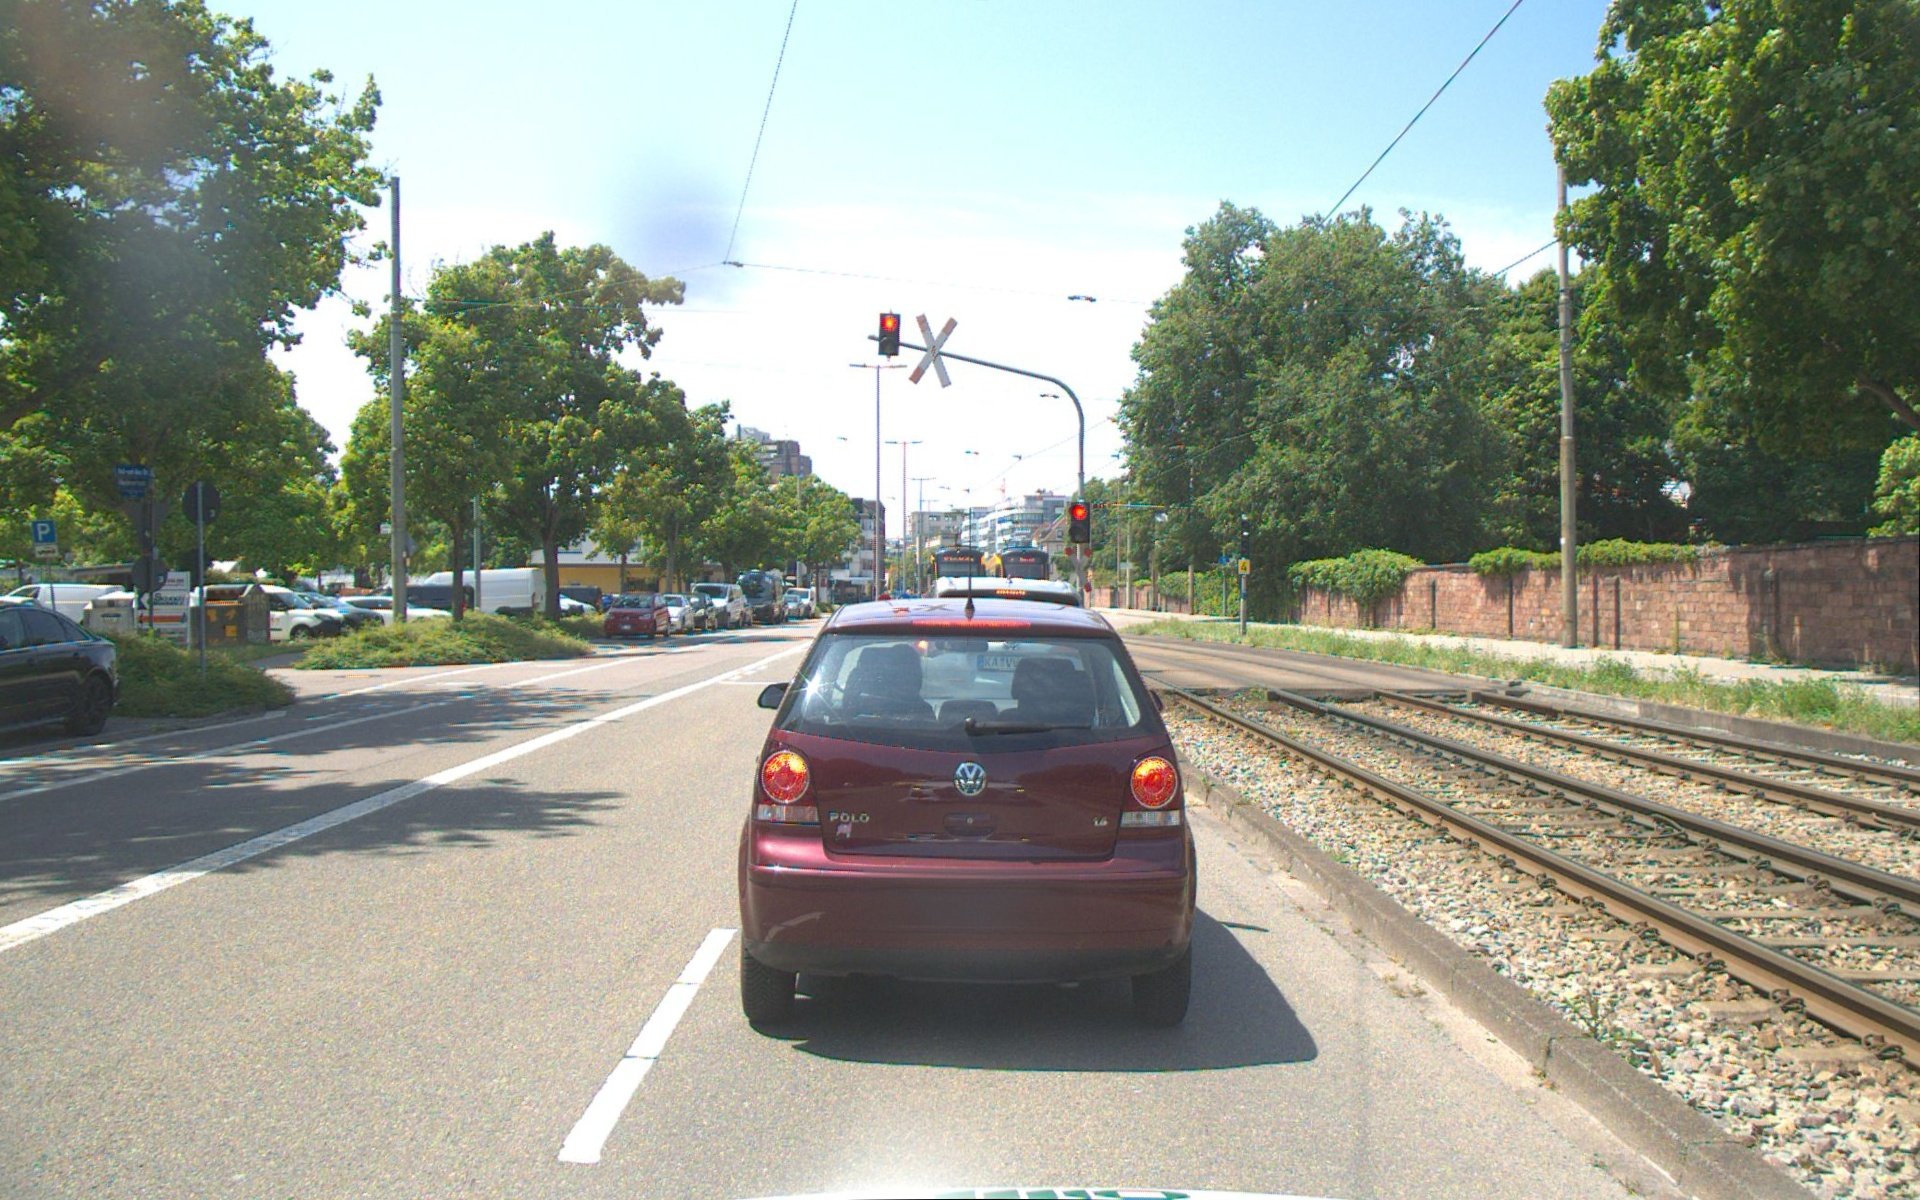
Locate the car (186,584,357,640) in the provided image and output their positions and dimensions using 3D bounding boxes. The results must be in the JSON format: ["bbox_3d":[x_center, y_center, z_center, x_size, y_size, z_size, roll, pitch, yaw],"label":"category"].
[{"bbox_3d":[-20.463,0.338,49.255,4.251,1.612,1.914,0,0,5],"label":"car"}]

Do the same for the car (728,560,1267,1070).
[{"bbox_3d":[0.072,0.657,7.144,1.638,1.548,3.999,2,0,-2],"label":"car"}]

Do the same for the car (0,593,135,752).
[{"bbox_3d":[-10.300,0.708,16.656,1.782,1.502,4.448,2,0,-1],"label":"car"}]

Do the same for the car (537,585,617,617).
[{"bbox_3d":[-21.176,0.053,91.587,3.938,1.645,1.816,2,-1,0],"label":"car"}]

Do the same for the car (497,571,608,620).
[{"bbox_3d":[-20.783,-0.211,84.592,4.993,2.283,2.378,2,-1,0],"label":"car"}]

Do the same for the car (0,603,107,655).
[{"bbox_3d":[-32.482,0.997,58.241,3.913,1.682,1.812,2,-1,-9],"label":"car"}]

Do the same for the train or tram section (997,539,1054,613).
[{"bbox_3d":[3.629,-1.309,93.157,2.965,3.864,13.093,0,0,2],"label":"train or tram section"}]

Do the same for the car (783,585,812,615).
[{"bbox_3d":[-10.568,0.030,107.517,1.741,1.860,3.995,2,-1,-6],"label":"car"}]

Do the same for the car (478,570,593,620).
[{"bbox_3d":[-21.053,-0.240,82.116,4.993,2.283,2.378,2,-1,0],"label":"car"}]

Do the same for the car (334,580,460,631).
[{"bbox_3d":[-20.498,0.195,60.356,3.906,1.776,1.998,-1,0,-2],"label":"car"}]

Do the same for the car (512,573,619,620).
[{"bbox_3d":[-20.790,-0.190,87.310,4.993,2.283,2.378,2,-1,0],"label":"car"}]

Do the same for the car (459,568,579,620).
[{"bbox_3d":[-21.000,-0.263,78.930,4.993,2.283,2.378,2,-1,0],"label":"car"}]

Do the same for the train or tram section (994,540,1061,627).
[{"bbox_3d":[3.203,-0.774,80.194,2.965,3.864,13.093,0,0,2],"label":"train or tram section"}]

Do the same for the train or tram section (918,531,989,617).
[{"bbox_3d":[-0.446,-1.183,78.764,2.686,3.672,12.862,2,0,-3],"label":"train or tram section"}]

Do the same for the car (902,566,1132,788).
[{"bbox_3d":[0.391,0.584,14.807,1.741,1.676,3.999,2,0,-2],"label":"car"}]

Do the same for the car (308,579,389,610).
[{"bbox_3d":[-35.305,-0.326,95.618,3.939,1.645,1.816,2,-1,-2],"label":"car"}]

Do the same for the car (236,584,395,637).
[{"bbox_3d":[-20.359,0.316,52.326,4.251,1.612,1.914,0,0,5],"label":"car"}]

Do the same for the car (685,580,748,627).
[{"bbox_3d":[-10.435,0.168,71.194,1.746,1.914,4.787,2,0,2],"label":"car"}]

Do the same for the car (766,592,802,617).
[{"bbox_3d":[-10.758,0.293,101.373,1.581,1.466,4.001,2,0,3],"label":"car"}]

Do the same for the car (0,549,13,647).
[{"bbox_3d":[-33.094,-0.177,50.569,6.714,3.017,2.363,2,-1,-2],"label":"car"}]

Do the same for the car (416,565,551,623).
[{"bbox_3d":[-20.382,-0.231,70.879,4.993,2.283,2.378,2,-1,0],"label":"car"}]

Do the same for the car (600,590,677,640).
[{"bbox_3d":[-10.532,0.486,54.403,1.628,1.523,4.000,2,0,1],"label":"car"}]

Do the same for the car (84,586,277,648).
[{"bbox_3d":[-20.924,0.439,44.508,4.256,1.612,1.912,-1,0,-3],"label":"car"}]

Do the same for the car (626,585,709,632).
[{"bbox_3d":[-10.725,0.320,60.950,1.934,1.629,4.560,2,0,4],"label":"car"}]

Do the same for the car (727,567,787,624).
[{"bbox_3d":[-10.288,-0.219,84.240,2.313,2.739,5.307,2,-1,0],"label":"car"}]

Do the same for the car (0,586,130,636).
[{"bbox_3d":[-32.822,0.404,60.537,3.913,1.682,1.812,2,-1,-9],"label":"car"}]
